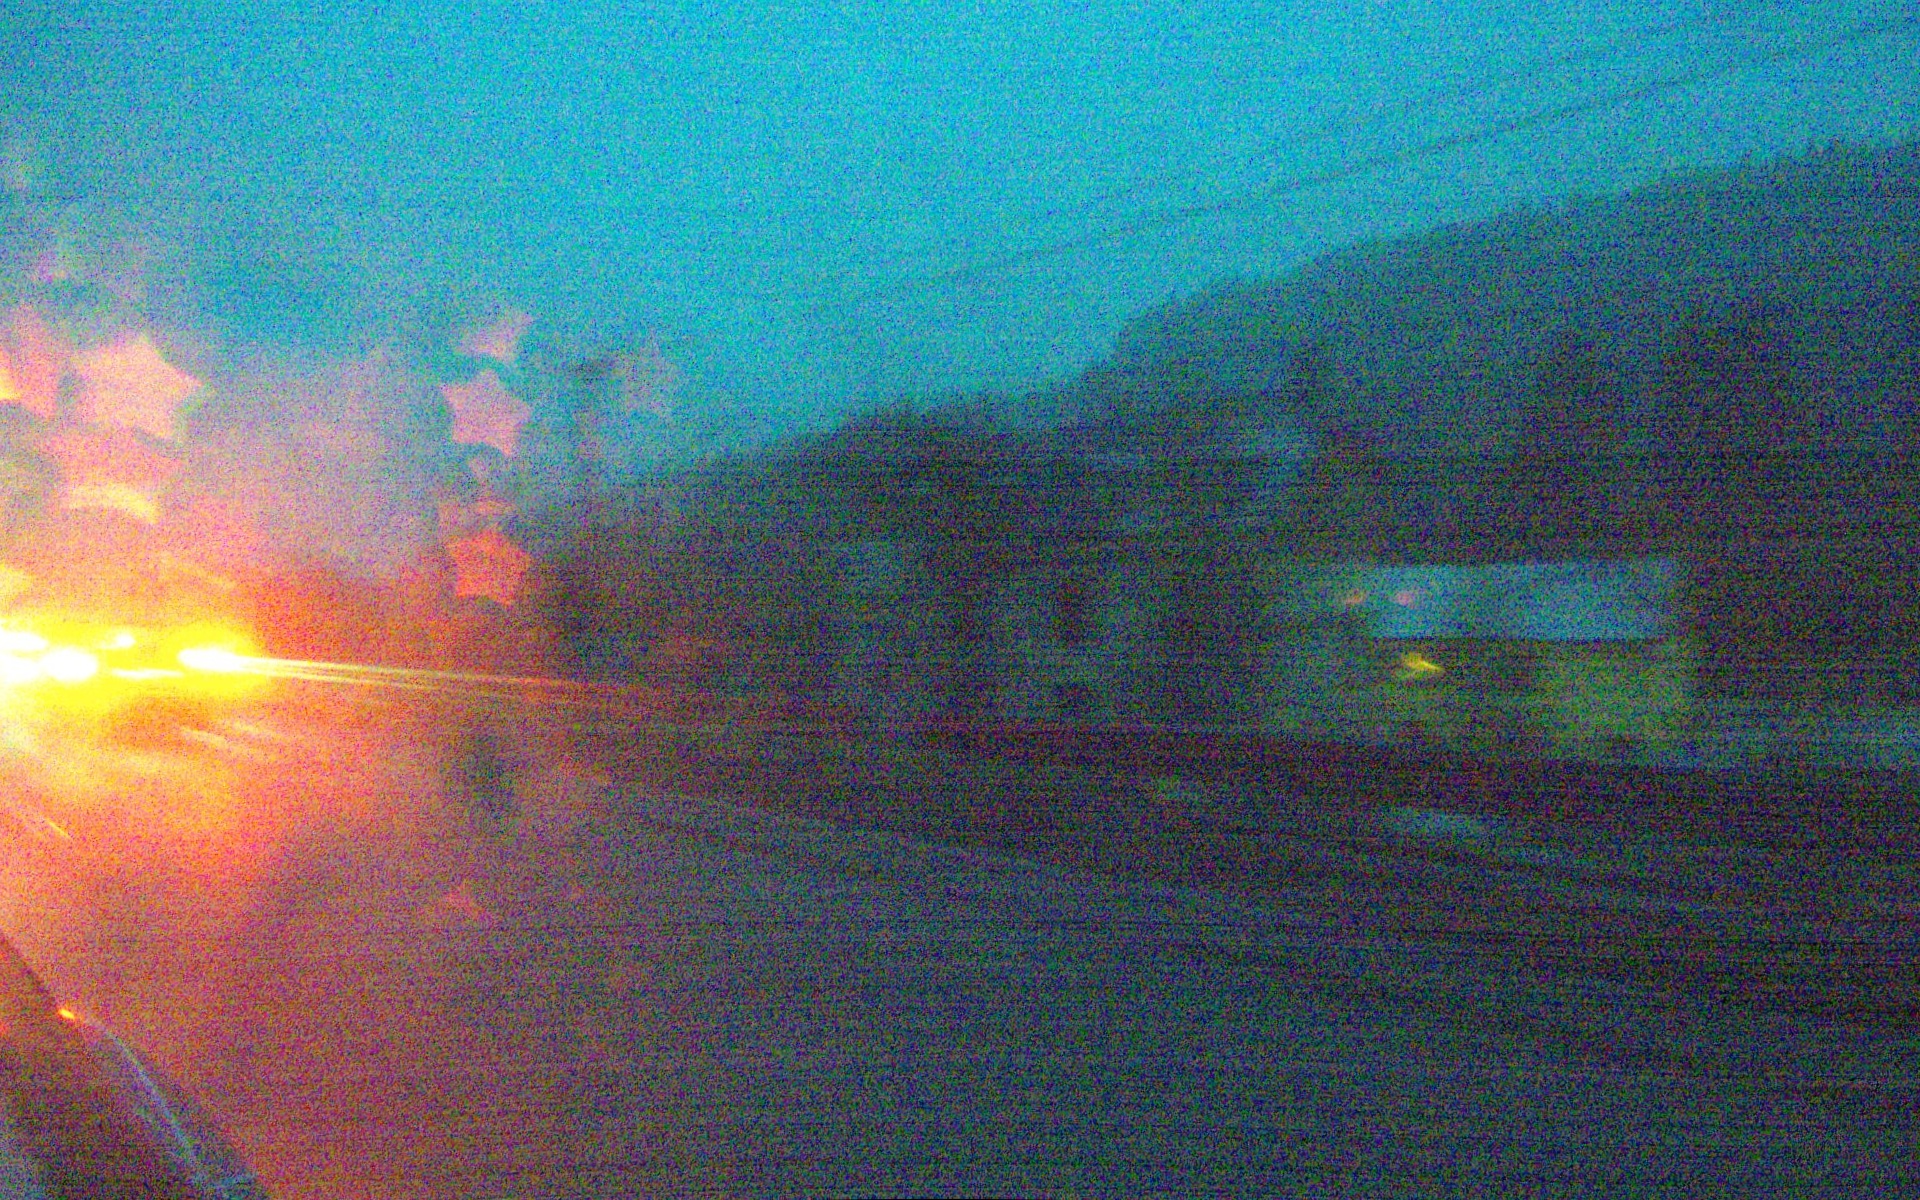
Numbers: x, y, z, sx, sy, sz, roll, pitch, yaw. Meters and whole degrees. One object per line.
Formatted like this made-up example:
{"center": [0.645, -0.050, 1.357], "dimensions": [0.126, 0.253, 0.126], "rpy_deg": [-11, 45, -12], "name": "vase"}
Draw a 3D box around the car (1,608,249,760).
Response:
{"center": [-10.452, 0.915, 12.584], "dimensions": [3.778, 1.580, 1.810], "rpy_deg": [-1, -1, 41], "name": "car"}
